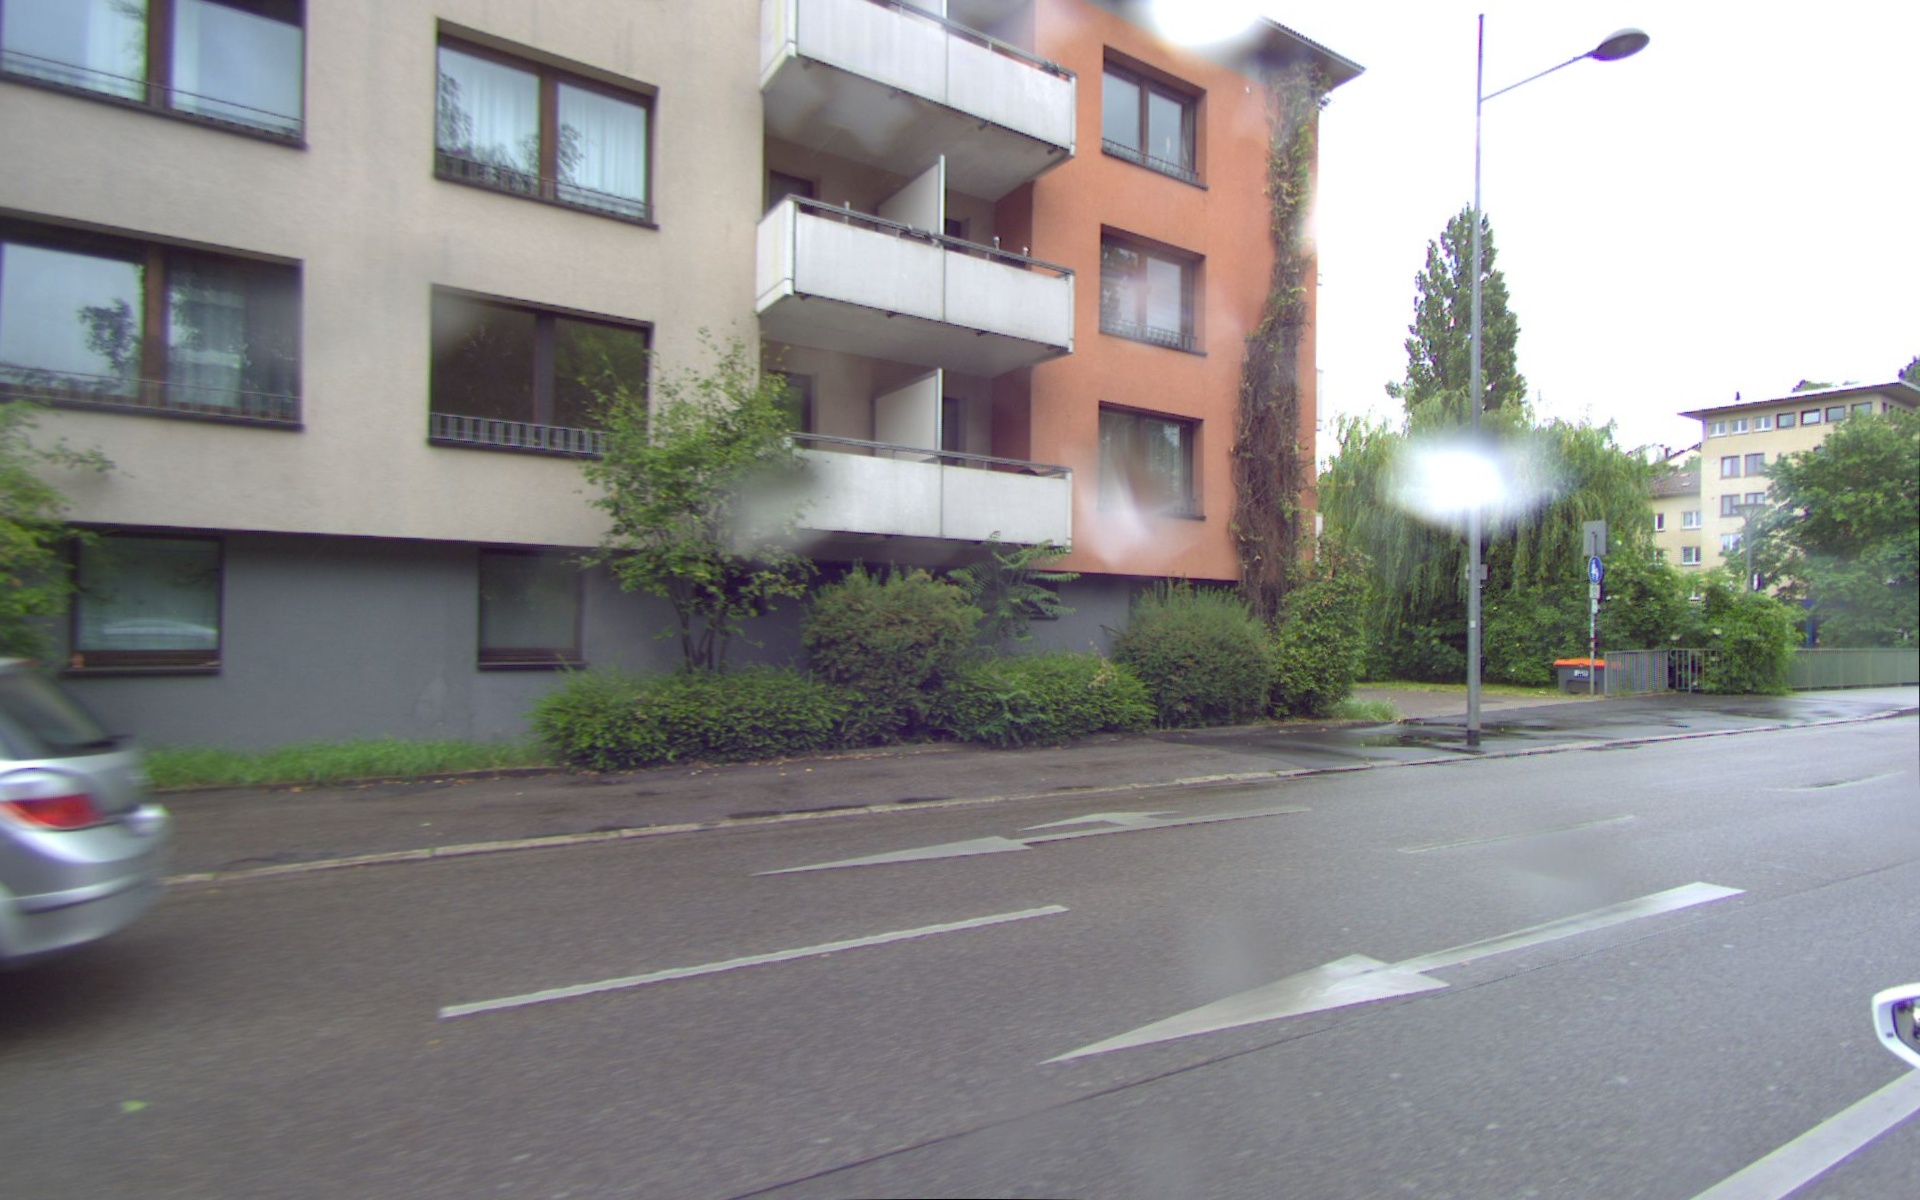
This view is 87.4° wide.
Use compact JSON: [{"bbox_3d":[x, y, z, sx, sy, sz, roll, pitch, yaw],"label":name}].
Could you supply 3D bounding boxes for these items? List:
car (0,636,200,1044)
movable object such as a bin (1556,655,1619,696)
[{"bbox_3d":[-5.128,0.853,3.393,4.009,1.434,1.801,1,-2,-36],"label":"car"},{"bbox_3d":[14.258,1.702,22.840,0.822,0.888,0.961,2,-2,-30],"label":"movable object such as a bin"}]
